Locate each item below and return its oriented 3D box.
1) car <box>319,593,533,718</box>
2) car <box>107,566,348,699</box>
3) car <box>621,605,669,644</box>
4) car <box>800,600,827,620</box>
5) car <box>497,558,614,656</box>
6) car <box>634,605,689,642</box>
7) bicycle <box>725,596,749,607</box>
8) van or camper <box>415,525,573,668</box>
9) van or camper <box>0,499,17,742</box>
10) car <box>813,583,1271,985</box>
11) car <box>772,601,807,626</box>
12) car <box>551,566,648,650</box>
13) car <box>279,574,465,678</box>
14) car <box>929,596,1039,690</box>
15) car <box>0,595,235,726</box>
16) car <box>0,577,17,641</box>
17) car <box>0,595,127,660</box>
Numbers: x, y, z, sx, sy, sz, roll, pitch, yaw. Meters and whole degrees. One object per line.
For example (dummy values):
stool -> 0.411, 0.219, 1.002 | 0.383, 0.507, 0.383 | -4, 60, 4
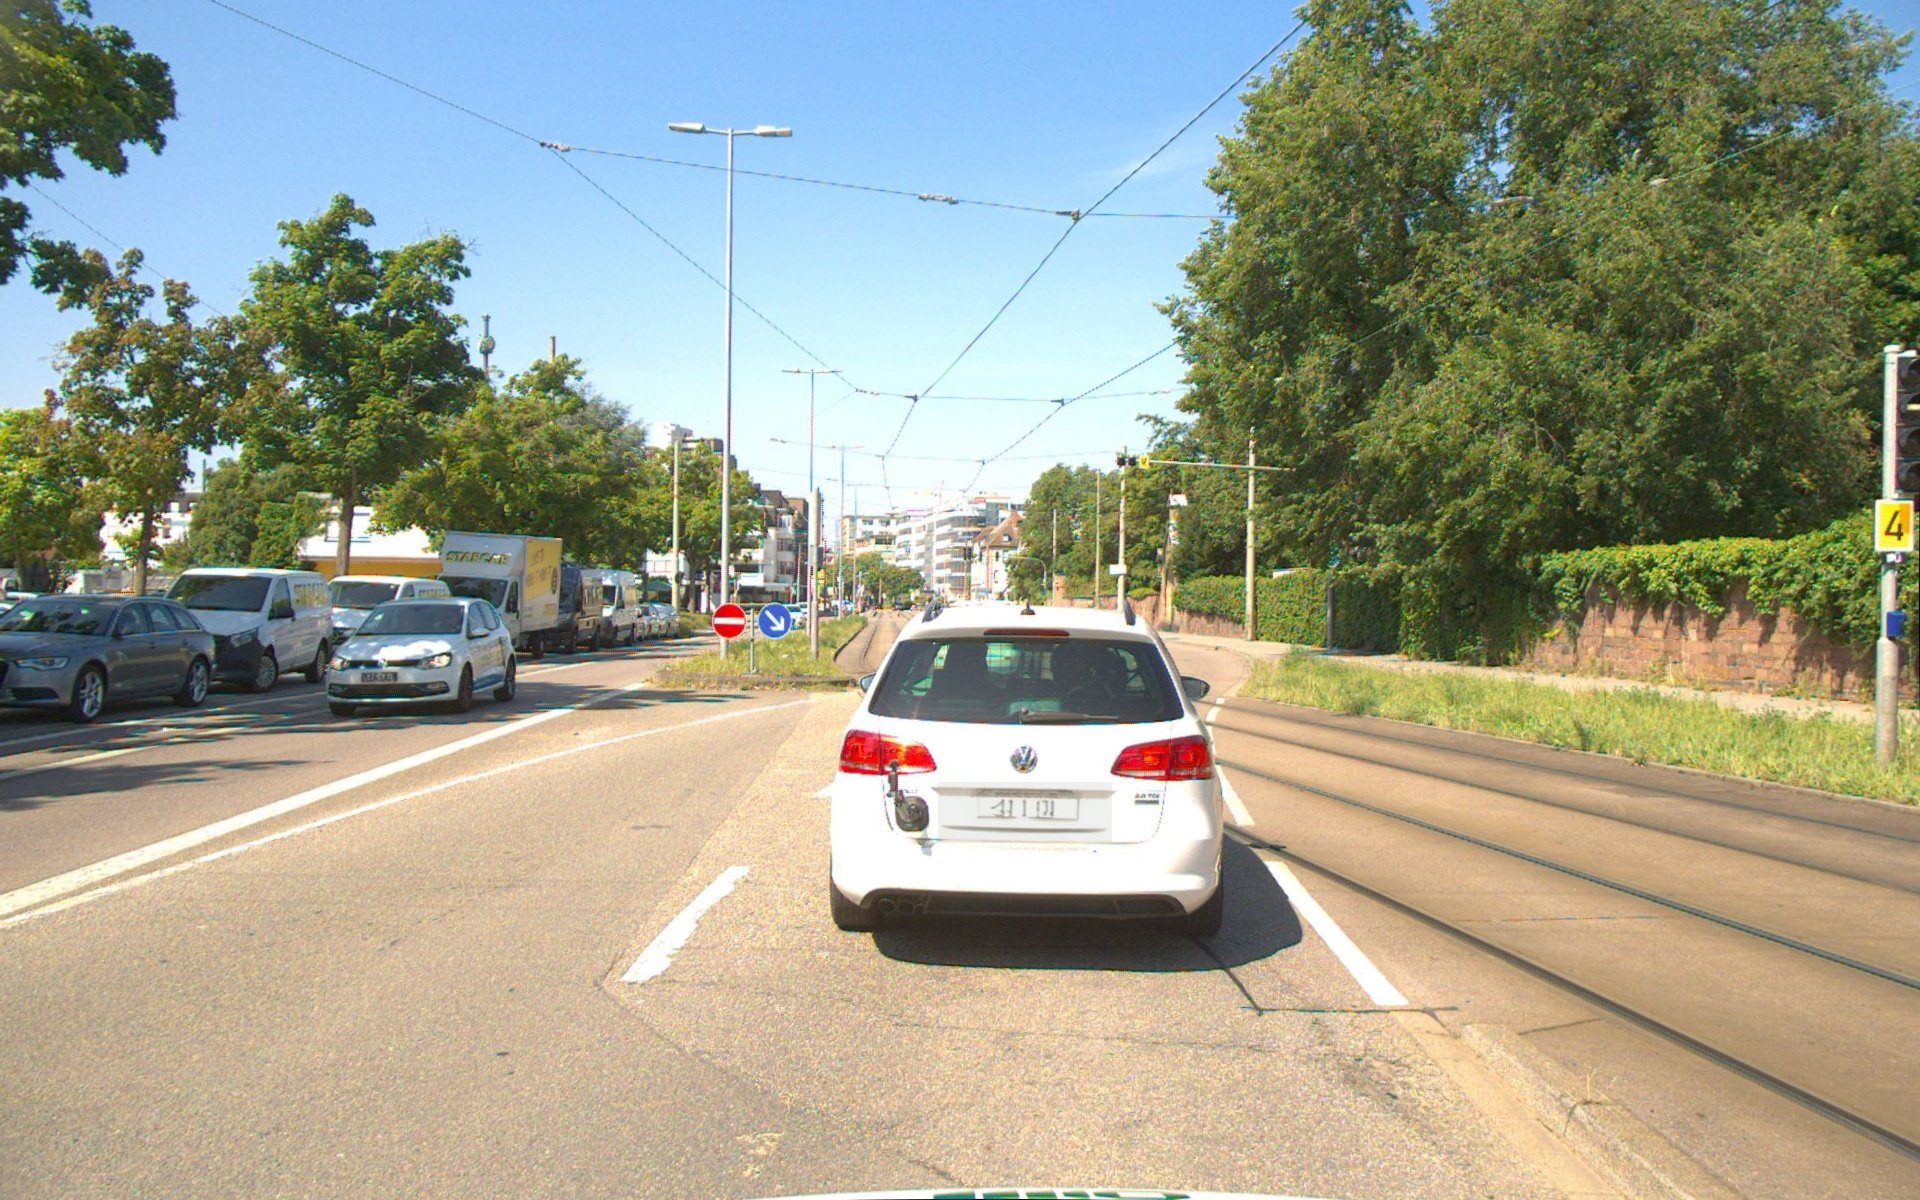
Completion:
car -> -6.889, 0.664, 21.759 | 1.693, 1.491, 3.998 | 0, 0, -3
car -> -11.885, 0.478, 27.283 | 2.154, 1.975, 5.177 | 0, 0, -6
car -> -12.930, 0.987, 68.164 | 1.266, 1.516, 4.349 | 2, 0, -2
car -> -11.894, 0.815, 134.231 | 2.002, 1.625, 4.657 | 0, 0, -3
car -> -12.249, 0.194, 50.521 | 2.152, 2.715, 6.077 | 2, 0, -2
car -> -13.202, 1.012, 73.388 | 1.571, 1.516, 4.617 | 2, 0, -1
bicycle -> -18.667, 0.132, 138.386 | 0.543, 0.937, 2.165 | 0, 0, 41
van or camper -> -11.844, -0.092, 42.606 | 2.151, 3.298, 6.770 | 2, 0, -1
van or camper -> -11.172, 0.216, 14.633 | 2.211, 2.558, 6.146 | 0, 0, -1
car -> 0.446, 0.691, 8.217 | 1.741, 1.516, 3.849 | 0, 0, 4
car -> -10.101, 0.792, 98.114 | 1.755, 1.447, 4.334 | 0, 0, -2
car -> -12.391, 0.252, 57.235 | 2.152, 2.676, 5.976 | 2, 0, -2
car -> -11.990, 0.494, 34.146 | 2.152, 1.975, 5.182 | 0, 0, -2
car -> 0.520, 0.776, 31.559 | 1.694, 1.624, 4.014 | 2, 0, 6
car -> -11.146, 0.679, 21.013 | 1.893, 1.480, 4.883 | 0, 0, -3
car -> -35.638, 0.303, 58.089 | 3.910, 2.238, 1.908 | 0, 0, -6
car -> -22.947, 0.671, 40.817 | 3.907, 1.571, 1.662 | 0, 0, -3
